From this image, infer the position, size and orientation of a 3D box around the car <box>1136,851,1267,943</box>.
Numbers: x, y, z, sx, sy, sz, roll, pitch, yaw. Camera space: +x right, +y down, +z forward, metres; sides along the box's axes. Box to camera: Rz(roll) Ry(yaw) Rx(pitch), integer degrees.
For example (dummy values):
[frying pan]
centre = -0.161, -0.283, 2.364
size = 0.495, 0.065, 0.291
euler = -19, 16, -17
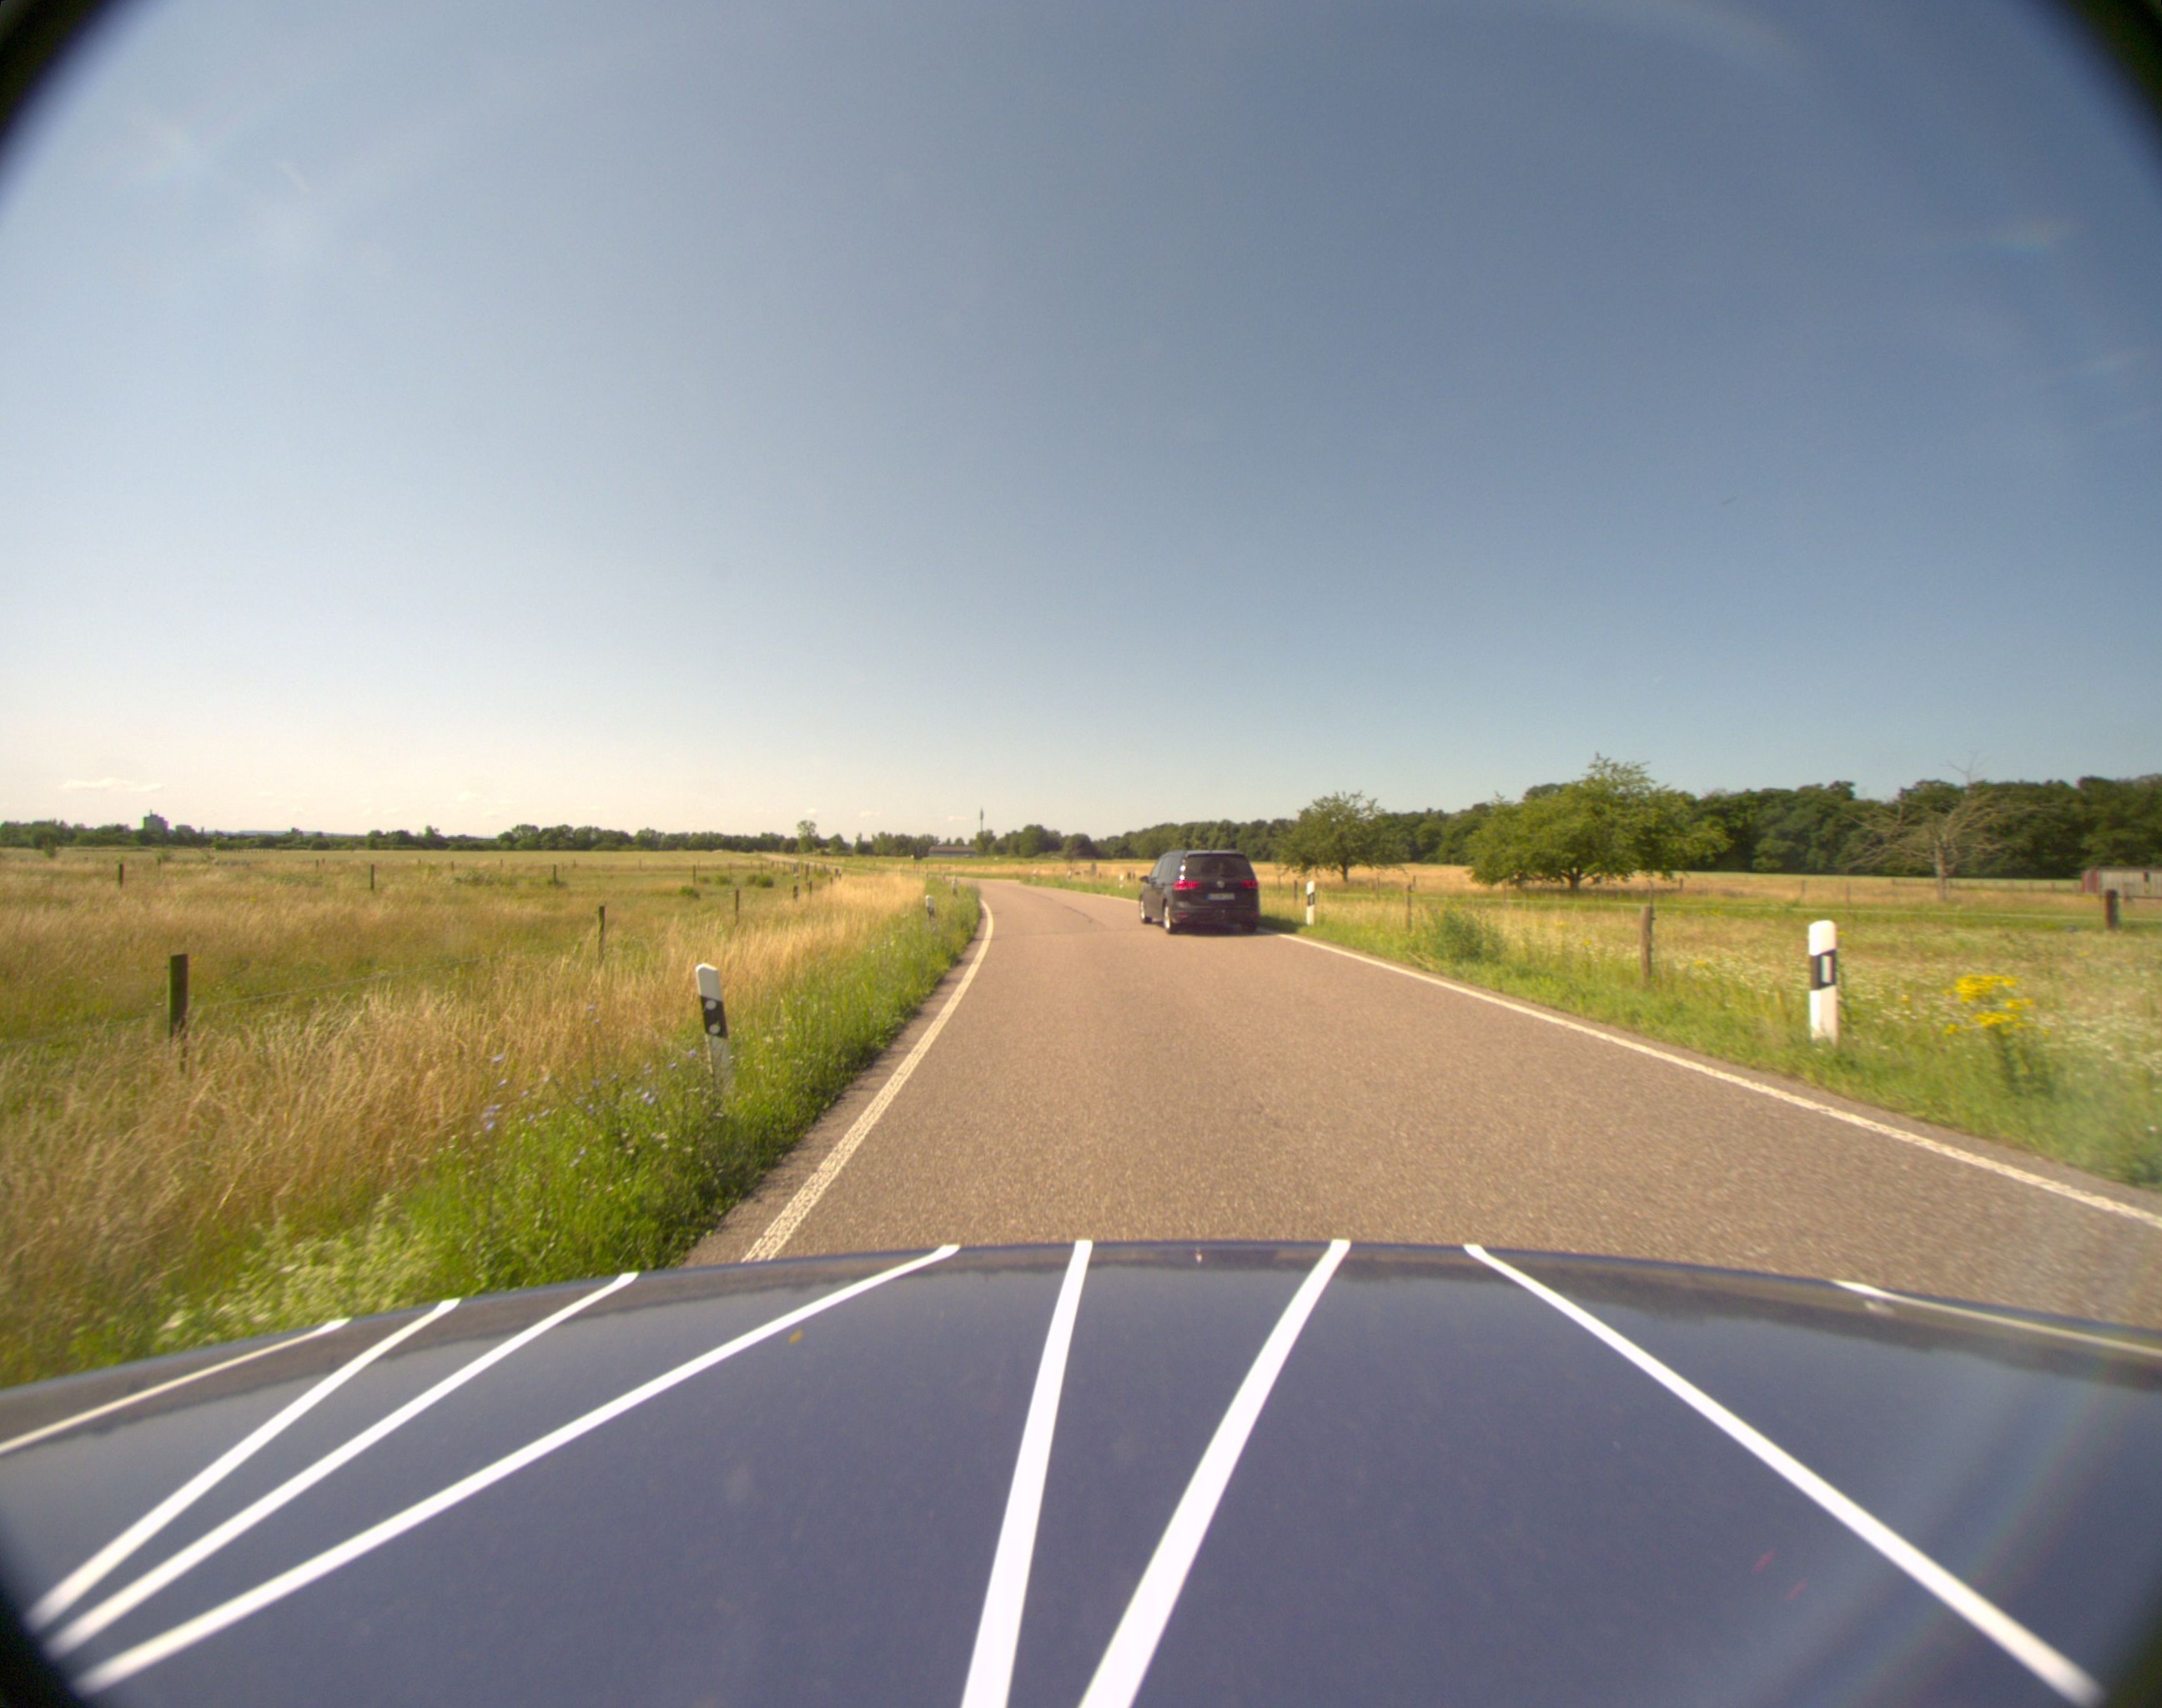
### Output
[car]
centre = 2.351, 0.792, 15.929
size = 1.789, 1.622, 4.159
euler = -1, 0, -4
